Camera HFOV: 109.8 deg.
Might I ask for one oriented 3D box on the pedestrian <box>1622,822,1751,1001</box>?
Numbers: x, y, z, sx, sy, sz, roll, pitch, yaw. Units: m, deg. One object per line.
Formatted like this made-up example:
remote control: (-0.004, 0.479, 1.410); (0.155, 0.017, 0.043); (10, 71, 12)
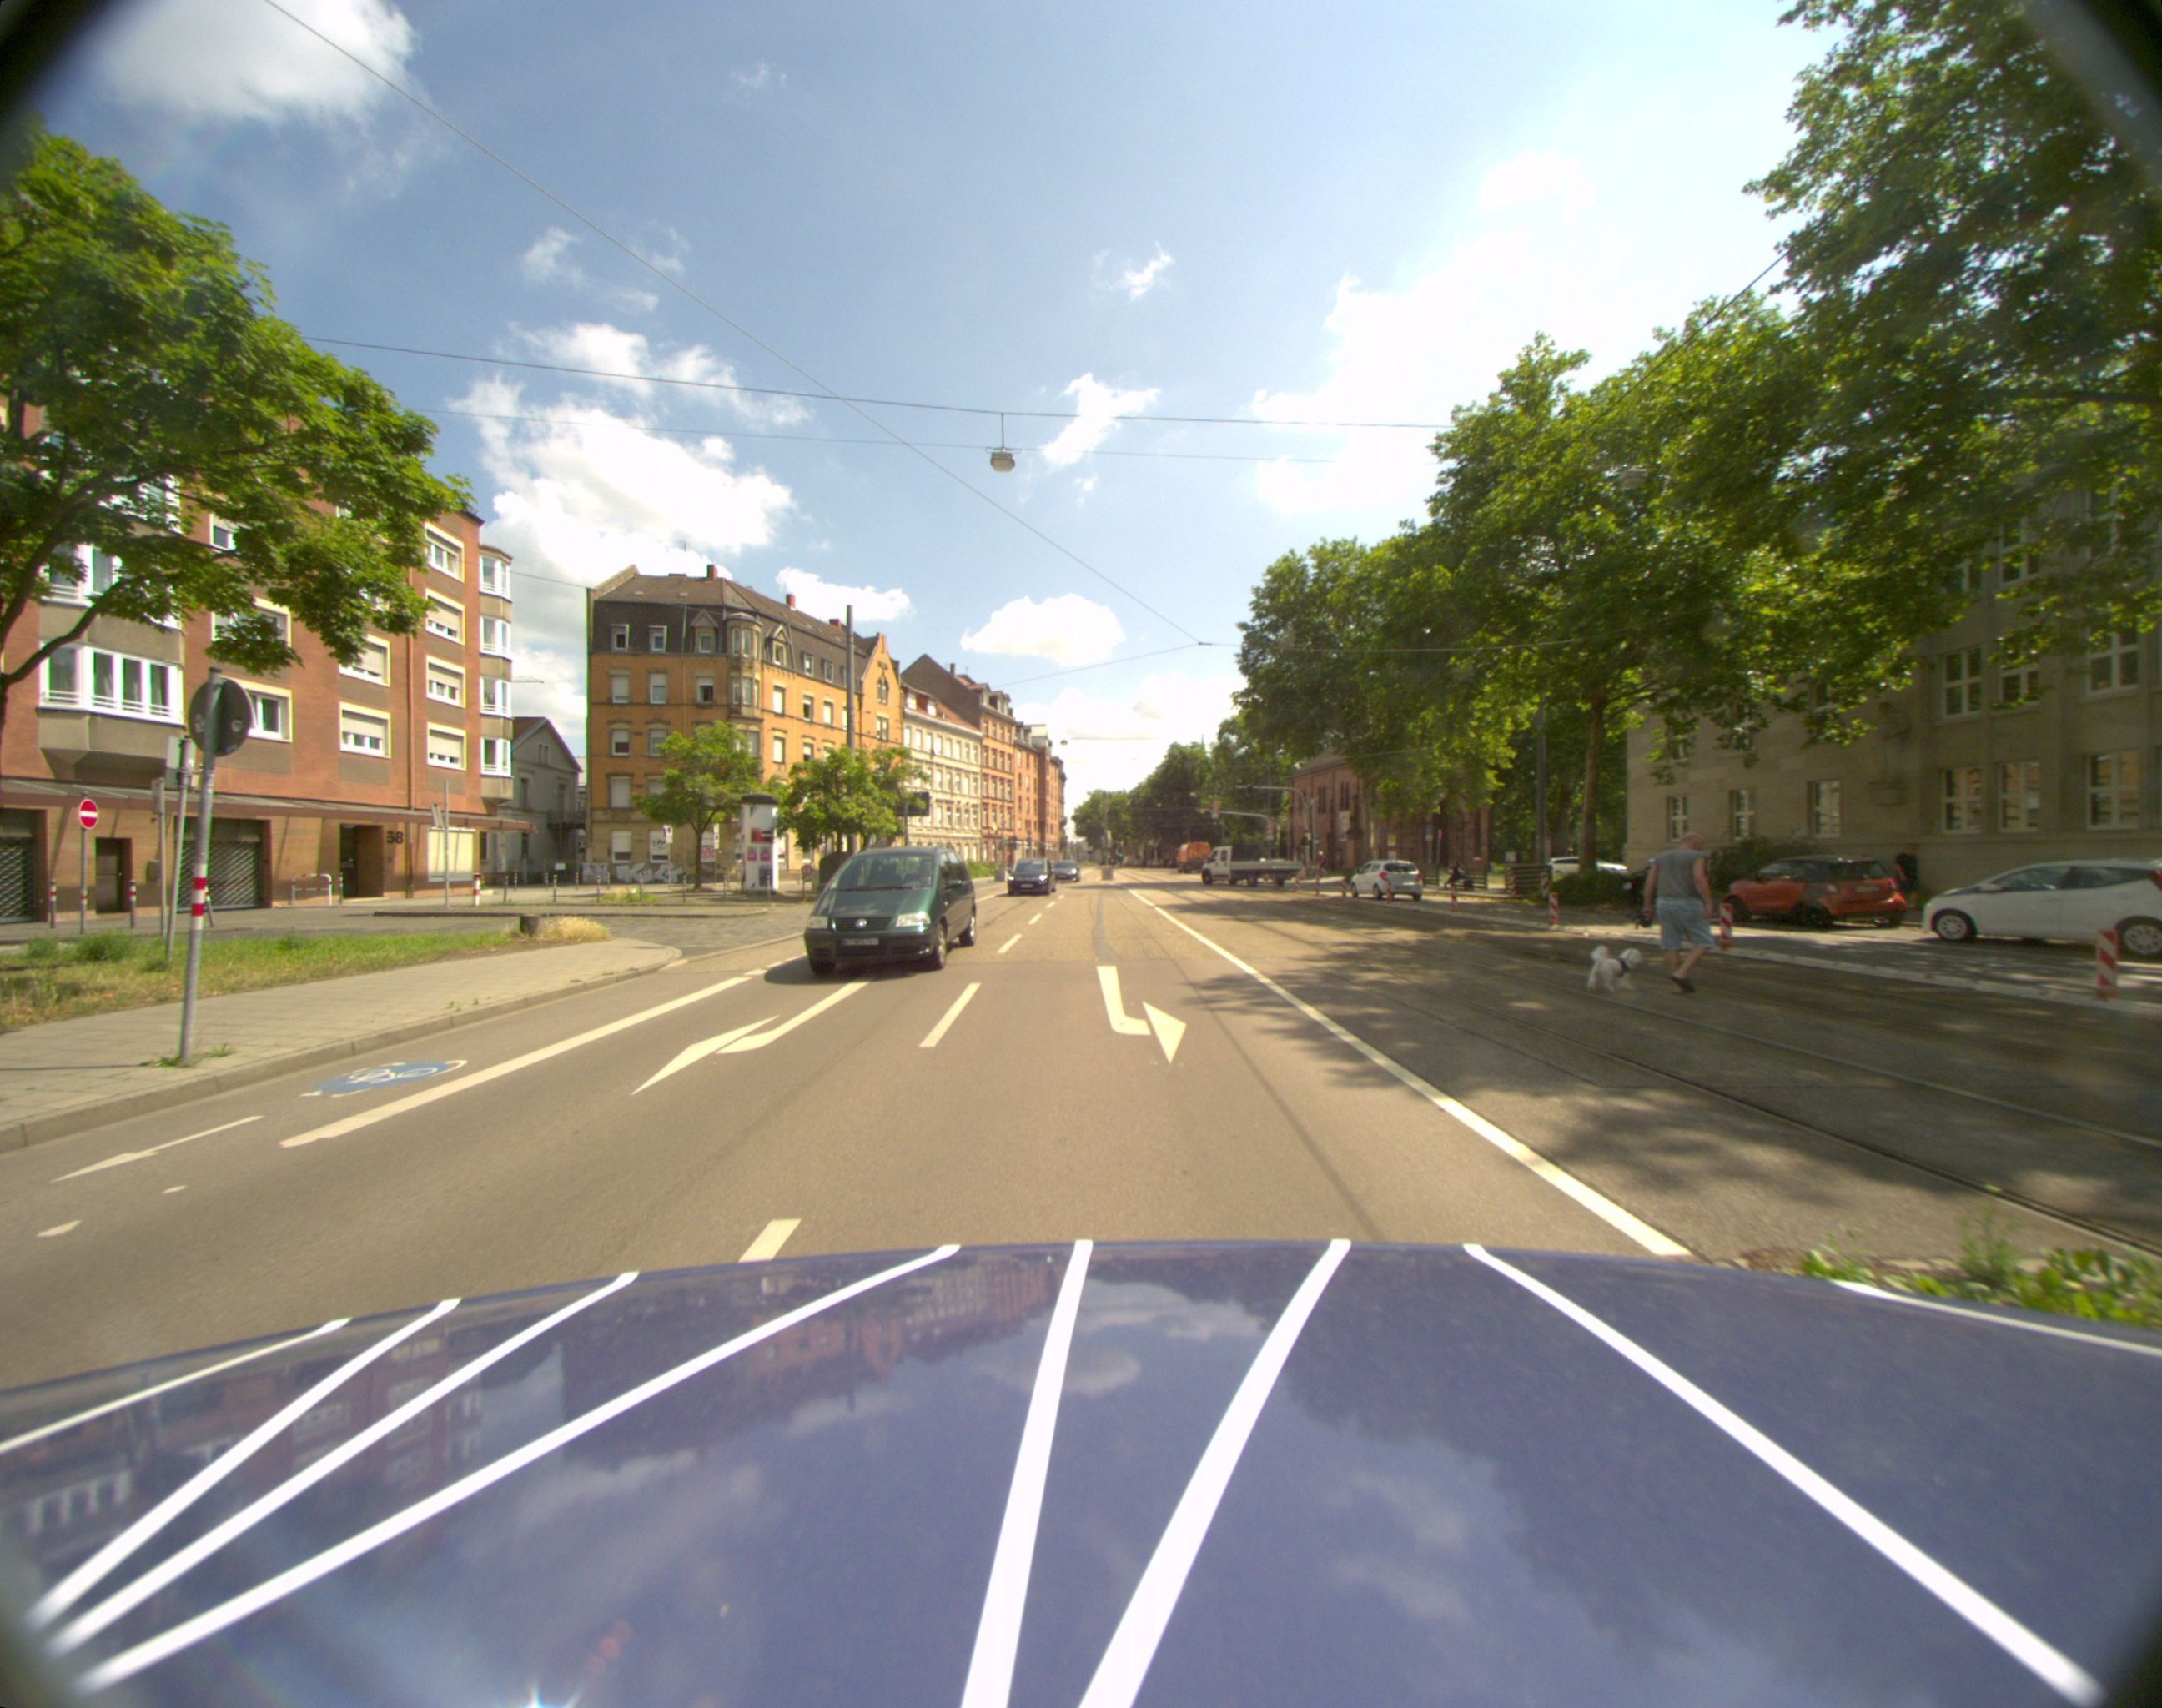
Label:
pedestrian: (6.115, 0.546, 7.698); (0.784, 1.694, 0.701); (-2, 1, -19)

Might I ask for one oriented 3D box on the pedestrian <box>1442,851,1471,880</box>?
pedestrian: (16.641, 0.491, 33.725); (0.757, 1.205, 0.913); (-6, 1, 2)

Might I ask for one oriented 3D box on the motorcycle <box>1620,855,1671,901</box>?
motorcycle: (16.459, 0.686, 22.136); (2.111, 1.169, 0.543); (-4, -1, -38)

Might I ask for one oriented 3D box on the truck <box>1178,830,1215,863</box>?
truck: (11.538, -0.768, 76.547); (2.646, 3.088, 7.221); (1, 1, 0)

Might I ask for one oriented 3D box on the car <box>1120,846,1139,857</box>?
car: (9.873, -0.422, 154.665); (1.765, 2.172, 3.991); (-2, 1, -29)

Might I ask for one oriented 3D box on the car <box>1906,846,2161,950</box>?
car: (16.305, 0.633, 12.424); (1.751, 1.445, 3.491); (-2, 0, -2)

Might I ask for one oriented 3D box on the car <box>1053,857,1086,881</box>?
car: (-0.714, 0.938, 49.954); (1.914, 1.386, 4.313); (-1, 1, 2)

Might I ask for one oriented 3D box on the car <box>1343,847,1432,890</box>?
car: (11.558, 0.532, 28.927); (1.765, 1.471, 3.787); (2, 0, -1)

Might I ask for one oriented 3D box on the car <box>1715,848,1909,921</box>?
car: (16.185, 0.628, 16.999); (1.490, 1.445, 2.882); (-2, 0, -2)

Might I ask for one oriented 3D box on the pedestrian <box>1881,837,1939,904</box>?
pedestrian: (20.226, 0.393, 18.549); (0.555, 1.582, 0.795); (-2, 1, -1)

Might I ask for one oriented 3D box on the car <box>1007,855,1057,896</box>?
car: (-2.129, 0.922, 34.177); (1.875, 1.610, 4.189); (-1, 1, 1)

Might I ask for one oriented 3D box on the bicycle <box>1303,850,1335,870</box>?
bicycle: (16.889, 0.418, 53.921); (2.088, 1.282, 0.671); (-3, 1, -7)

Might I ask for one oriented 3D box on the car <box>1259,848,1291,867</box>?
car: (16.548, 0.295, 65.019); (1.761, 1.488, 3.999); (-2, 1, 1)

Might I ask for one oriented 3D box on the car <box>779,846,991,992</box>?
car: (-2.724, 0.781, 11.907); (1.823, 1.746, 5.031); (-1, 1, 2)

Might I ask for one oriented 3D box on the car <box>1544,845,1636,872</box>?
car: (31.255, 0.254, 46.777); (1.764, 1.599, 4.399); (-1, 1, -30)

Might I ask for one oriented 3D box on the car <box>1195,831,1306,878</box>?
car: (9.217, 0.000, 42.128); (2.266, 2.360, 6.966); (-1, 0, -24)

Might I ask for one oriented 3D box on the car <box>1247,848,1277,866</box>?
car: (16.566, 0.243, 69.611); (1.761, 1.488, 3.999); (-2, 1, 1)

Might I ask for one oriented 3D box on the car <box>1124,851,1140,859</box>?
car: (9.718, 0.109, 145.579); (1.764, 1.488, 3.993); (-2, 1, -18)

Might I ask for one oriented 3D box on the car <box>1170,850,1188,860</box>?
car: (15.236, 0.169, 118.401); (1.762, 1.488, 3.997); (-2, 1, -6)

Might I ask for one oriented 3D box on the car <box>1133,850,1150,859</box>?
car: (11.200, 0.081, 140.847); (1.763, 1.488, 3.994); (-2, 1, -16)

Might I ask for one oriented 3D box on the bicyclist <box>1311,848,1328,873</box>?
bicyclist: (16.930, 0.452, 53.920); (0.885, 1.774, 0.662); (-3, 1, -8)

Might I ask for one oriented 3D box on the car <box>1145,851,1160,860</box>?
car: (12.591, 0.203, 133.860); (1.762, 1.488, 3.996); (-2, 1, -9)
